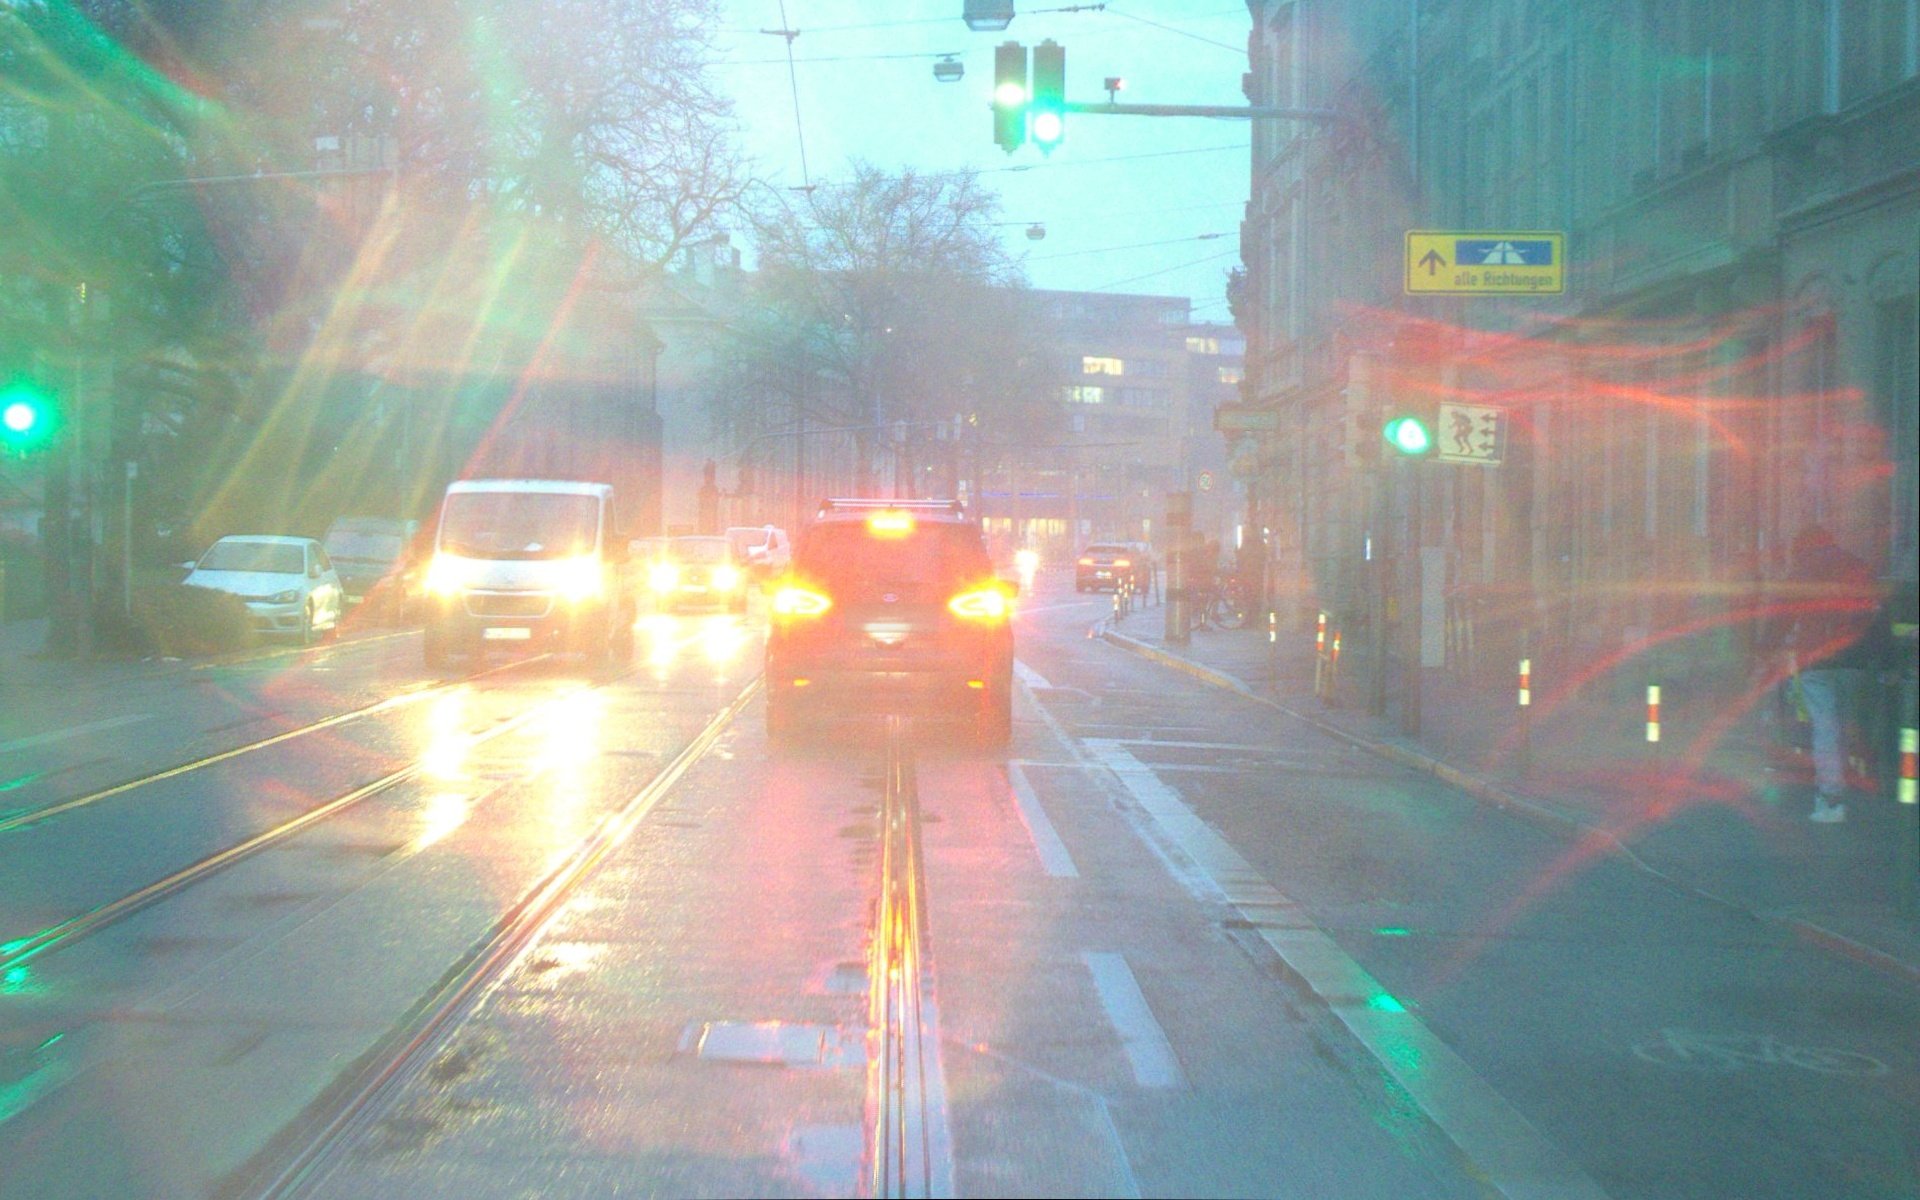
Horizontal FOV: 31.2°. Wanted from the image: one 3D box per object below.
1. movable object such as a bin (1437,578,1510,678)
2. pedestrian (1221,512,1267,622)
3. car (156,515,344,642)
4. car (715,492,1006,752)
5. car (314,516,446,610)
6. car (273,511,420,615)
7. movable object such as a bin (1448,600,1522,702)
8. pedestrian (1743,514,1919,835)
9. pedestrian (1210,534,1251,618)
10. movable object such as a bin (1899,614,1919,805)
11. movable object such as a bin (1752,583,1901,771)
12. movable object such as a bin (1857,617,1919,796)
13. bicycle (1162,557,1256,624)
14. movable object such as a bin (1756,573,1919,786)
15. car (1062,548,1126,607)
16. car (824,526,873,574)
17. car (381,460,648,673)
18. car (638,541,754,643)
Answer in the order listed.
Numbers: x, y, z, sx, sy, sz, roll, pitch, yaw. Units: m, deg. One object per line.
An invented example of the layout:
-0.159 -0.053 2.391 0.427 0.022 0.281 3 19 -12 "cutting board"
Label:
5.541 0.301 37.144 0.640 1.051 0.744 1 0 -1 "movable object such as a bin"
5.057 -0.586 61.226 0.715 1.946 0.657 1 0 -1 "pedestrian"
-9.643 -0.307 46.994 1.983 1.610 4.430 1 1 -5 "car"
-0.691 0.131 26.696 1.993 1.835 4.000 1 1 2 "car"
-10.493 -0.676 62.417 1.983 1.610 4.430 1 1 -5 "car"
-10.174 -0.619 57.282 1.983 1.610 4.430 1 1 -5 "car"
5.549 0.531 36.378 0.640 1.051 0.744 1 0 -1 "movable object such as a bin"
4.783 0.394 18.844 0.835 1.695 0.953 1 0 8 "pedestrian"
5.796 -0.514 73.750 0.771 1.769 0.685 1 0 -1 "pedestrian"
5.757 0.629 19.865 0.611 1.078 0.599 1 1 14 "movable object such as a bin"
5.739 0.497 22.806 0.765 1.206 0.819 0 1 -1 "movable object such as a bin"
5.759 0.631 20.515 0.765 1.035 0.599 1 1 14 "movable object such as a bin"
4.414 -0.184 61.017 0.792 1.140 2.244 1 1 -20 "bicycle"
5.671 0.481 21.622 0.887 1.284 1.262 0 1 -8 "movable object such as a bin"
4.275 -0.737 110.413 1.993 1.835 4.000 1 1 2 "car"
-4.825 -2.156 149.004 1.993 2.007 4.000 1 1 -1 "car"
-5.153 -0.396 40.657 2.446 2.339 5.845 0 1 -1 "car"
-5.460 -0.182 71.584 1.993 2.007 4.000 1 1 1 "car"
